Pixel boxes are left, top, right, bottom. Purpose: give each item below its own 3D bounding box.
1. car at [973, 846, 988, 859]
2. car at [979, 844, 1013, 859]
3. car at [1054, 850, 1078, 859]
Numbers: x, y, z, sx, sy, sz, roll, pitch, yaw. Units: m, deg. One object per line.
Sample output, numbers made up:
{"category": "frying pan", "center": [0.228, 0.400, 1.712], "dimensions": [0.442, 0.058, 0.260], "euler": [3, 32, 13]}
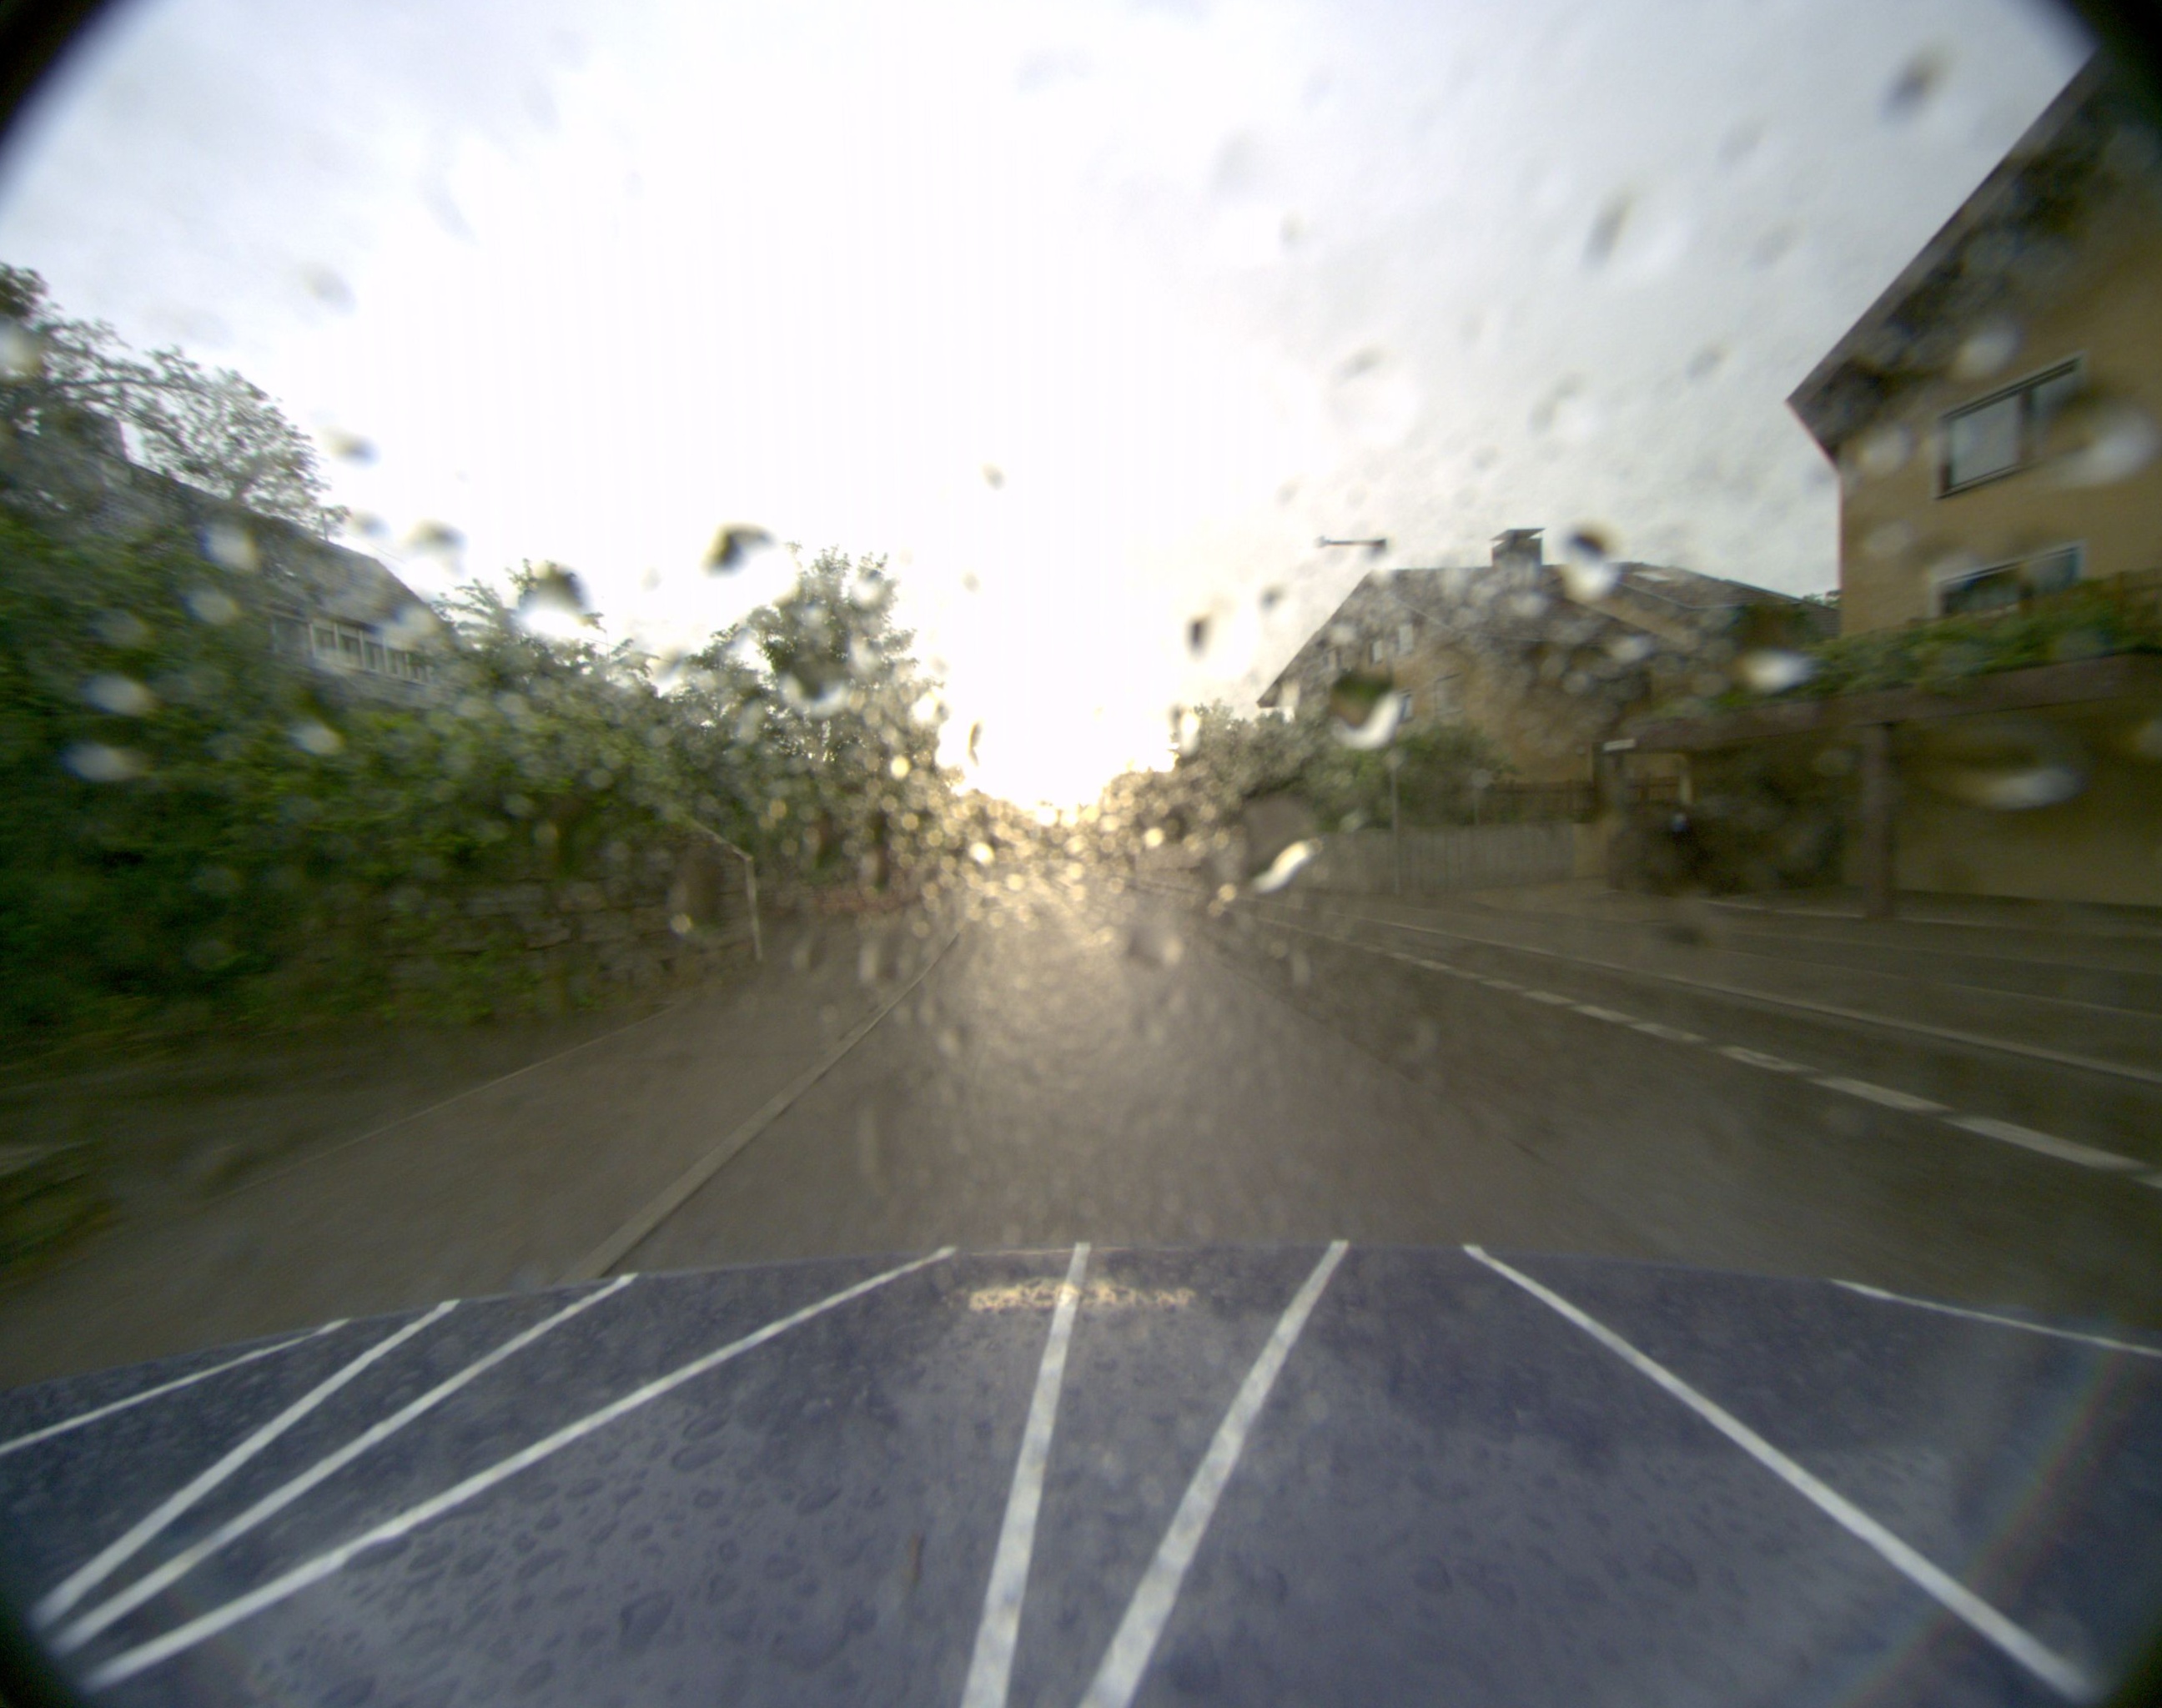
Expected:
{"category": "car", "center": [-12.144, -0.138, 91.785], "dimensions": [1.536, 1.526, 3.843], "euler": [0, 1, -4]}
{"category": "car", "center": [-12.230, -0.415, 109.322], "dimensions": [4.336, 1.706, 1.731], "euler": [-5, 1, 23]}
{"category": "car", "center": [-2.927, 0.128, 152.393], "dimensions": [4.535, 1.650, 1.857], "euler": [-2, -1, 6]}
